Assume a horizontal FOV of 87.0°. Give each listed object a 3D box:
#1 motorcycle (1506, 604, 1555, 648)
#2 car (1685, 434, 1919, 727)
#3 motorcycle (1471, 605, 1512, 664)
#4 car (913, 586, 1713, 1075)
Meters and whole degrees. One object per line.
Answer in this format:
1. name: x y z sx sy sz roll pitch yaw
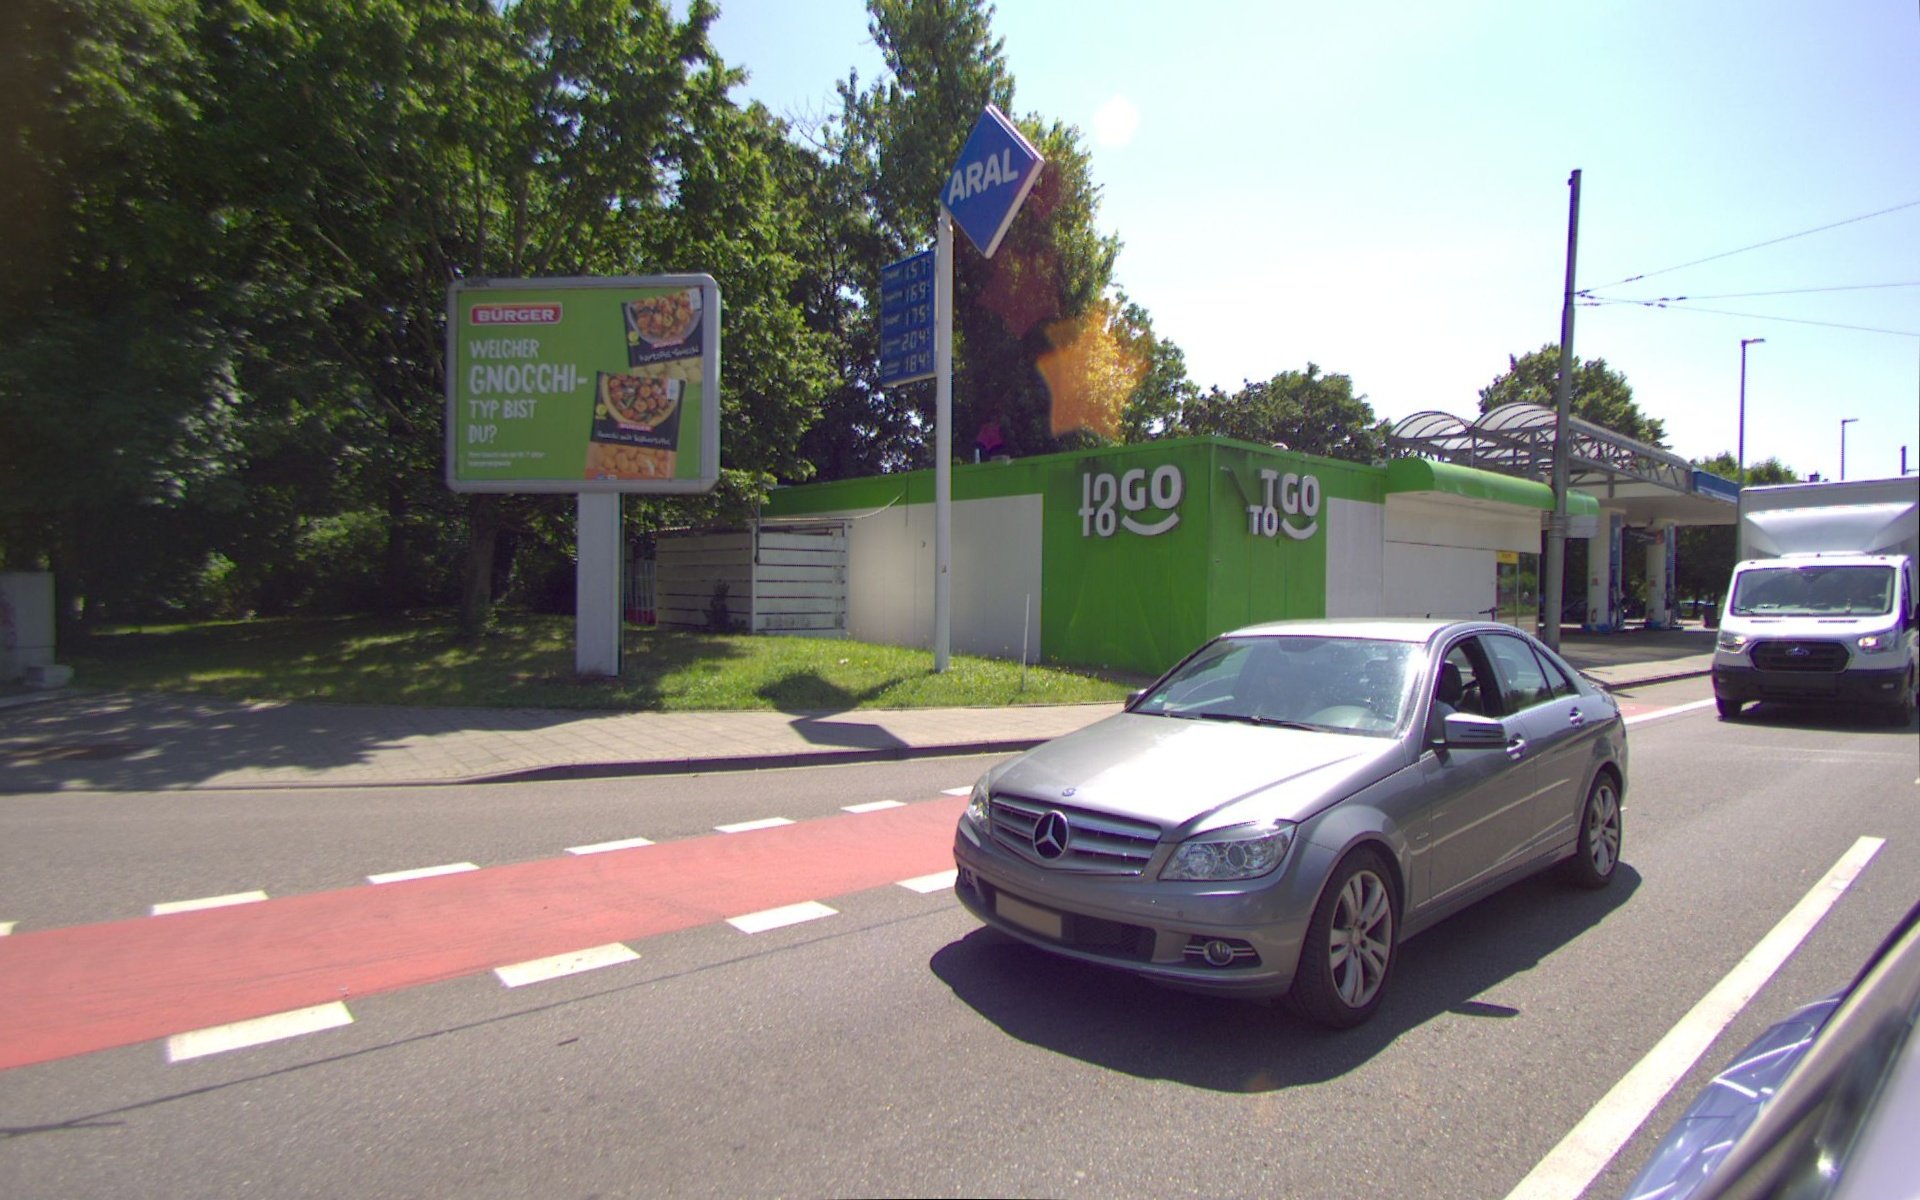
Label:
1. motorcycle: 16.943 0.754 30.068 0.357 1.226 1.156 2 1 -42
2. car: 13.484 -0.204 15.357 8.487 3.378 2.226 0 -1 -42
3. motorcycle: 10.666 0.684 20.302 1.098 1.118 0.253 -1 7 -41
4. car: 2.318 0.734 5.475 5.208 1.492 1.715 0 -2 -41
